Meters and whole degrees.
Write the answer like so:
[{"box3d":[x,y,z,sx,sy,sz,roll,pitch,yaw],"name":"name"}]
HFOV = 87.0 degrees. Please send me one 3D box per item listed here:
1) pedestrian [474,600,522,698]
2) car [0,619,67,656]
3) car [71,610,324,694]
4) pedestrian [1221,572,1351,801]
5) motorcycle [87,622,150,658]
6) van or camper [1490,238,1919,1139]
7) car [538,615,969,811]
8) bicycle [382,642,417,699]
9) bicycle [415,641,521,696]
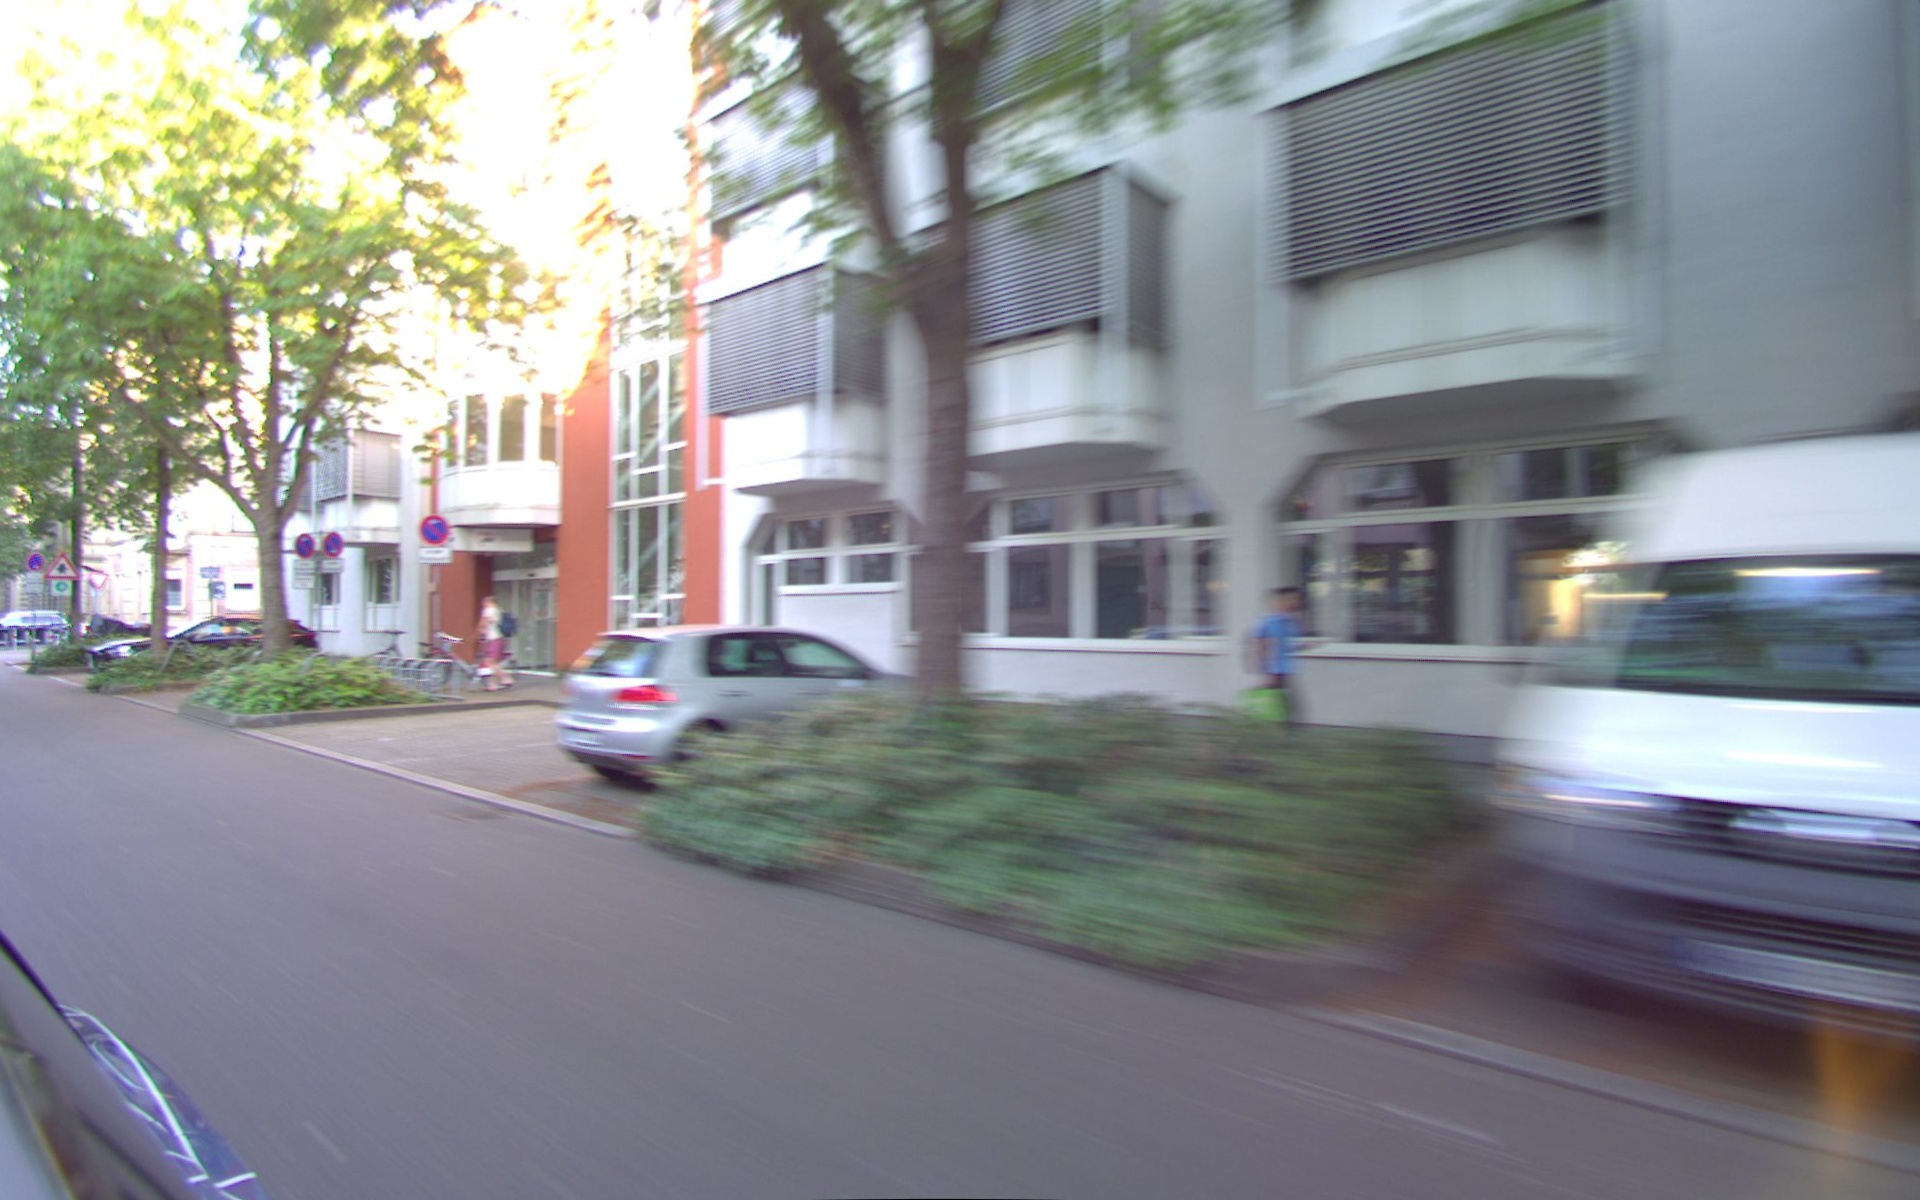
[{"box3d":[-8.499,0.893,18.604,0.628,1.758,0.680,1,-2,-40],"name":"pedestrian"},{"box3d":[-44.026,1.732,46.823,1.674,1.645,3.808,-1,-4,41],"name":"car"},{"box3d":[-17.751,1.174,23.765,1.788,1.772,4.421,-1,-2,37],"name":"car"},{"box3d":[3.090,0.781,9.597,0.839,2.029,0.930,-1,-2,45],"name":"pedestrian"},{"box3d":[-28.975,1.375,34.870,0.572,1.151,1.604,-1,0,43],"name":"motorcycle"},{"box3d":[4.102,0.298,4.610,1.944,2.446,4.767,-1,-2,41],"name":"van or camper"},{"box3d":[-1.881,0.937,10.092,1.622,1.539,4.008,-1,-1,44],"name":"car"},{"box3d":[-10.508,1.295,18.998,0.448,0.995,1.761,1,-2,-25],"name":"bicycle"},{"box3d":[-9.119,1.270,18.783,1.729,0.995,0.456,0,-2,-3],"name":"bicycle"}]
